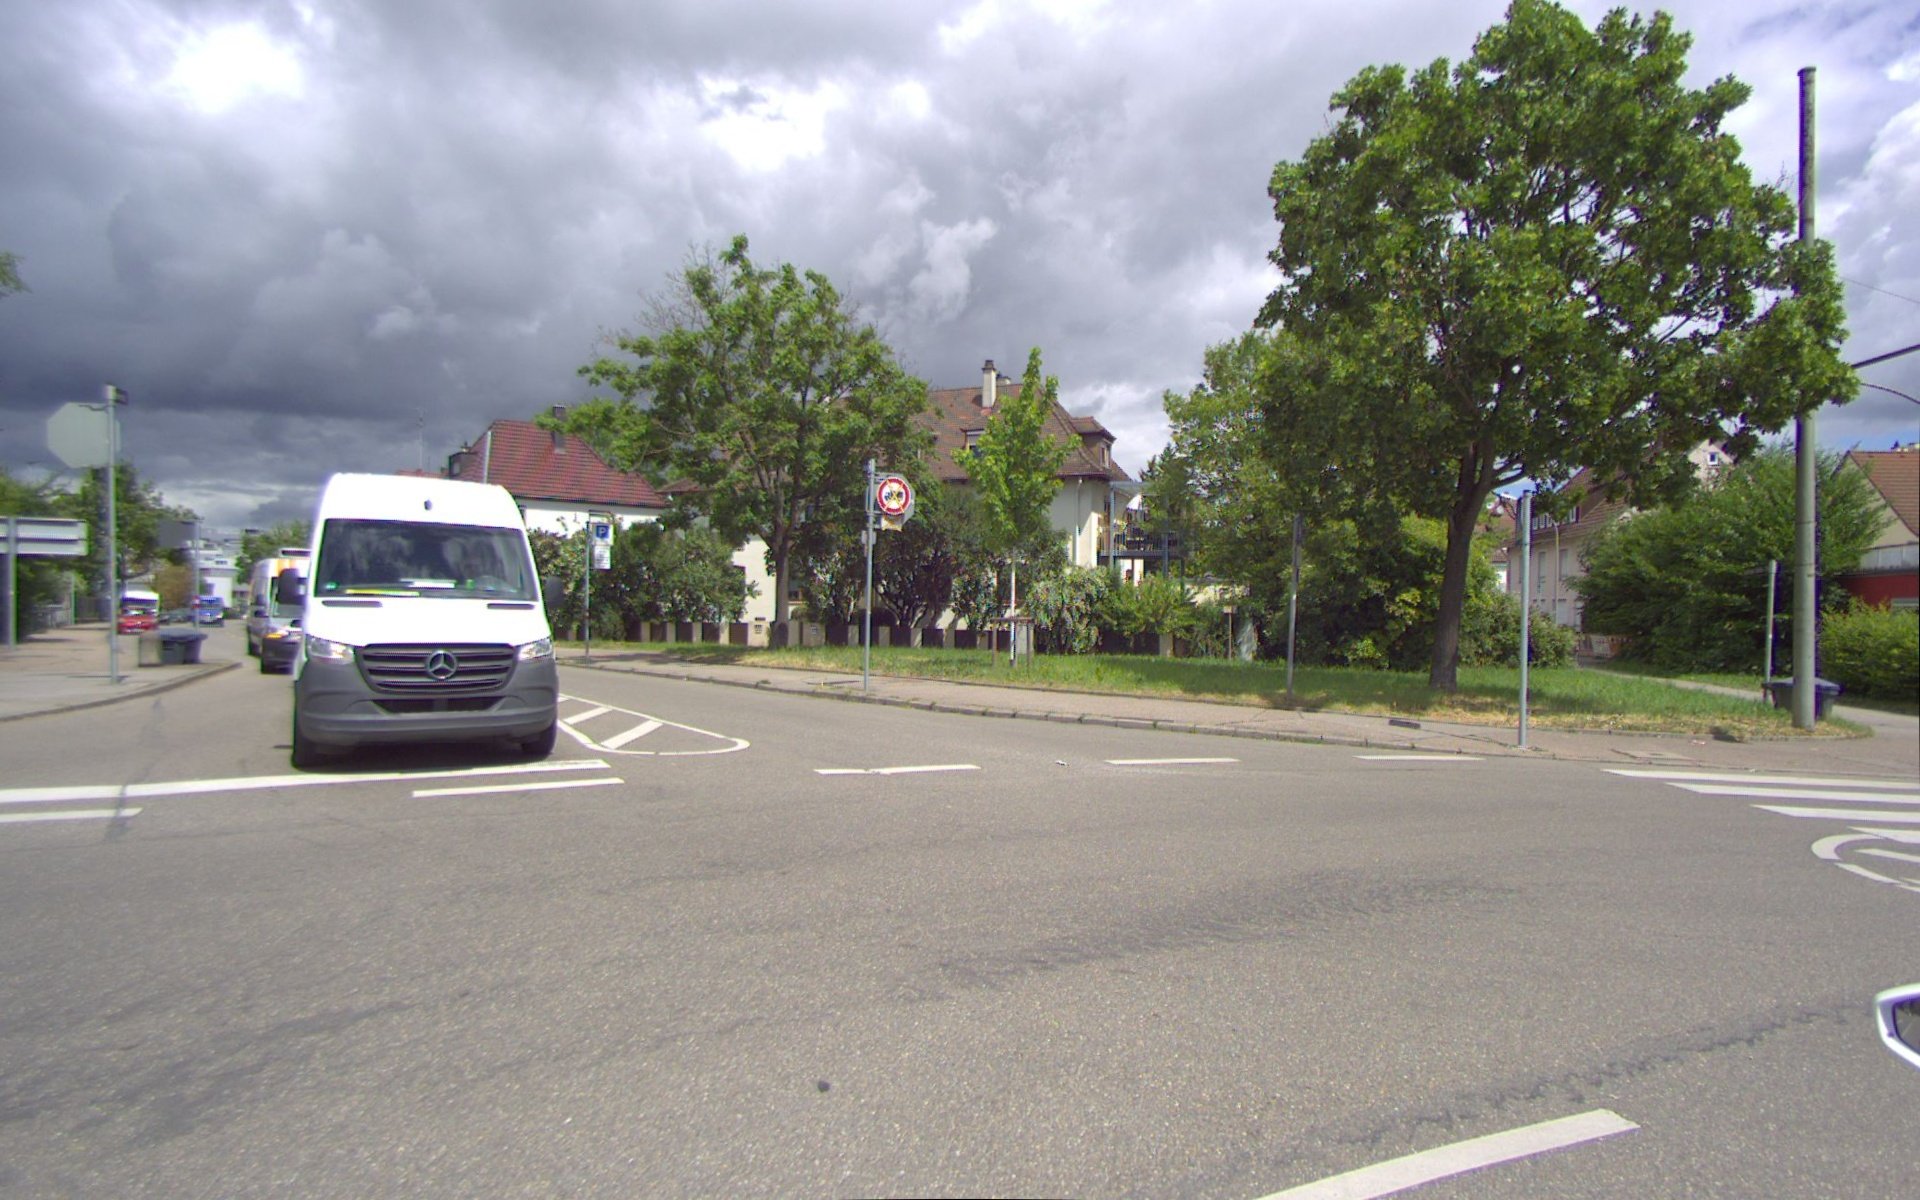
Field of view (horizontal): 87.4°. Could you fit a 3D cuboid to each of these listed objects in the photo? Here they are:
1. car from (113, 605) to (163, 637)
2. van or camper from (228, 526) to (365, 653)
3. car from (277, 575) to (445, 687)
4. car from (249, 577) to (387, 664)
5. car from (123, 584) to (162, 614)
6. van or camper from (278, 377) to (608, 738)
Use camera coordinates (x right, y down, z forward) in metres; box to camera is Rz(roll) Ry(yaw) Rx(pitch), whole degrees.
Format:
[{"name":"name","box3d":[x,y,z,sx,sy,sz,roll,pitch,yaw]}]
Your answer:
[{"name":"car","box3d":[-44.300,1.135,54.220,1.983,1.609,4.353,2,-2,-38]},{"name":"van or camper","box3d":[-18.780,-0.058,28.188,2.253,3.034,8.231,2,-4,-40]},{"name":"car","box3d":[-9.469,0.471,15.772,1.979,1.493,4.190,2,-2,-34]},{"name":"car","box3d":[-13.508,0.433,21.018,1.983,1.609,4.353,2,-2,-38]},{"name":"car","box3d":[-57.366,-0.025,70.520,1.983,1.954,4.353,2,-2,-38]},{"name":"van or camper","box3d":[-5.509,-0.215,10.298,2.171,2.600,5.875,4,-3,-33]}]
